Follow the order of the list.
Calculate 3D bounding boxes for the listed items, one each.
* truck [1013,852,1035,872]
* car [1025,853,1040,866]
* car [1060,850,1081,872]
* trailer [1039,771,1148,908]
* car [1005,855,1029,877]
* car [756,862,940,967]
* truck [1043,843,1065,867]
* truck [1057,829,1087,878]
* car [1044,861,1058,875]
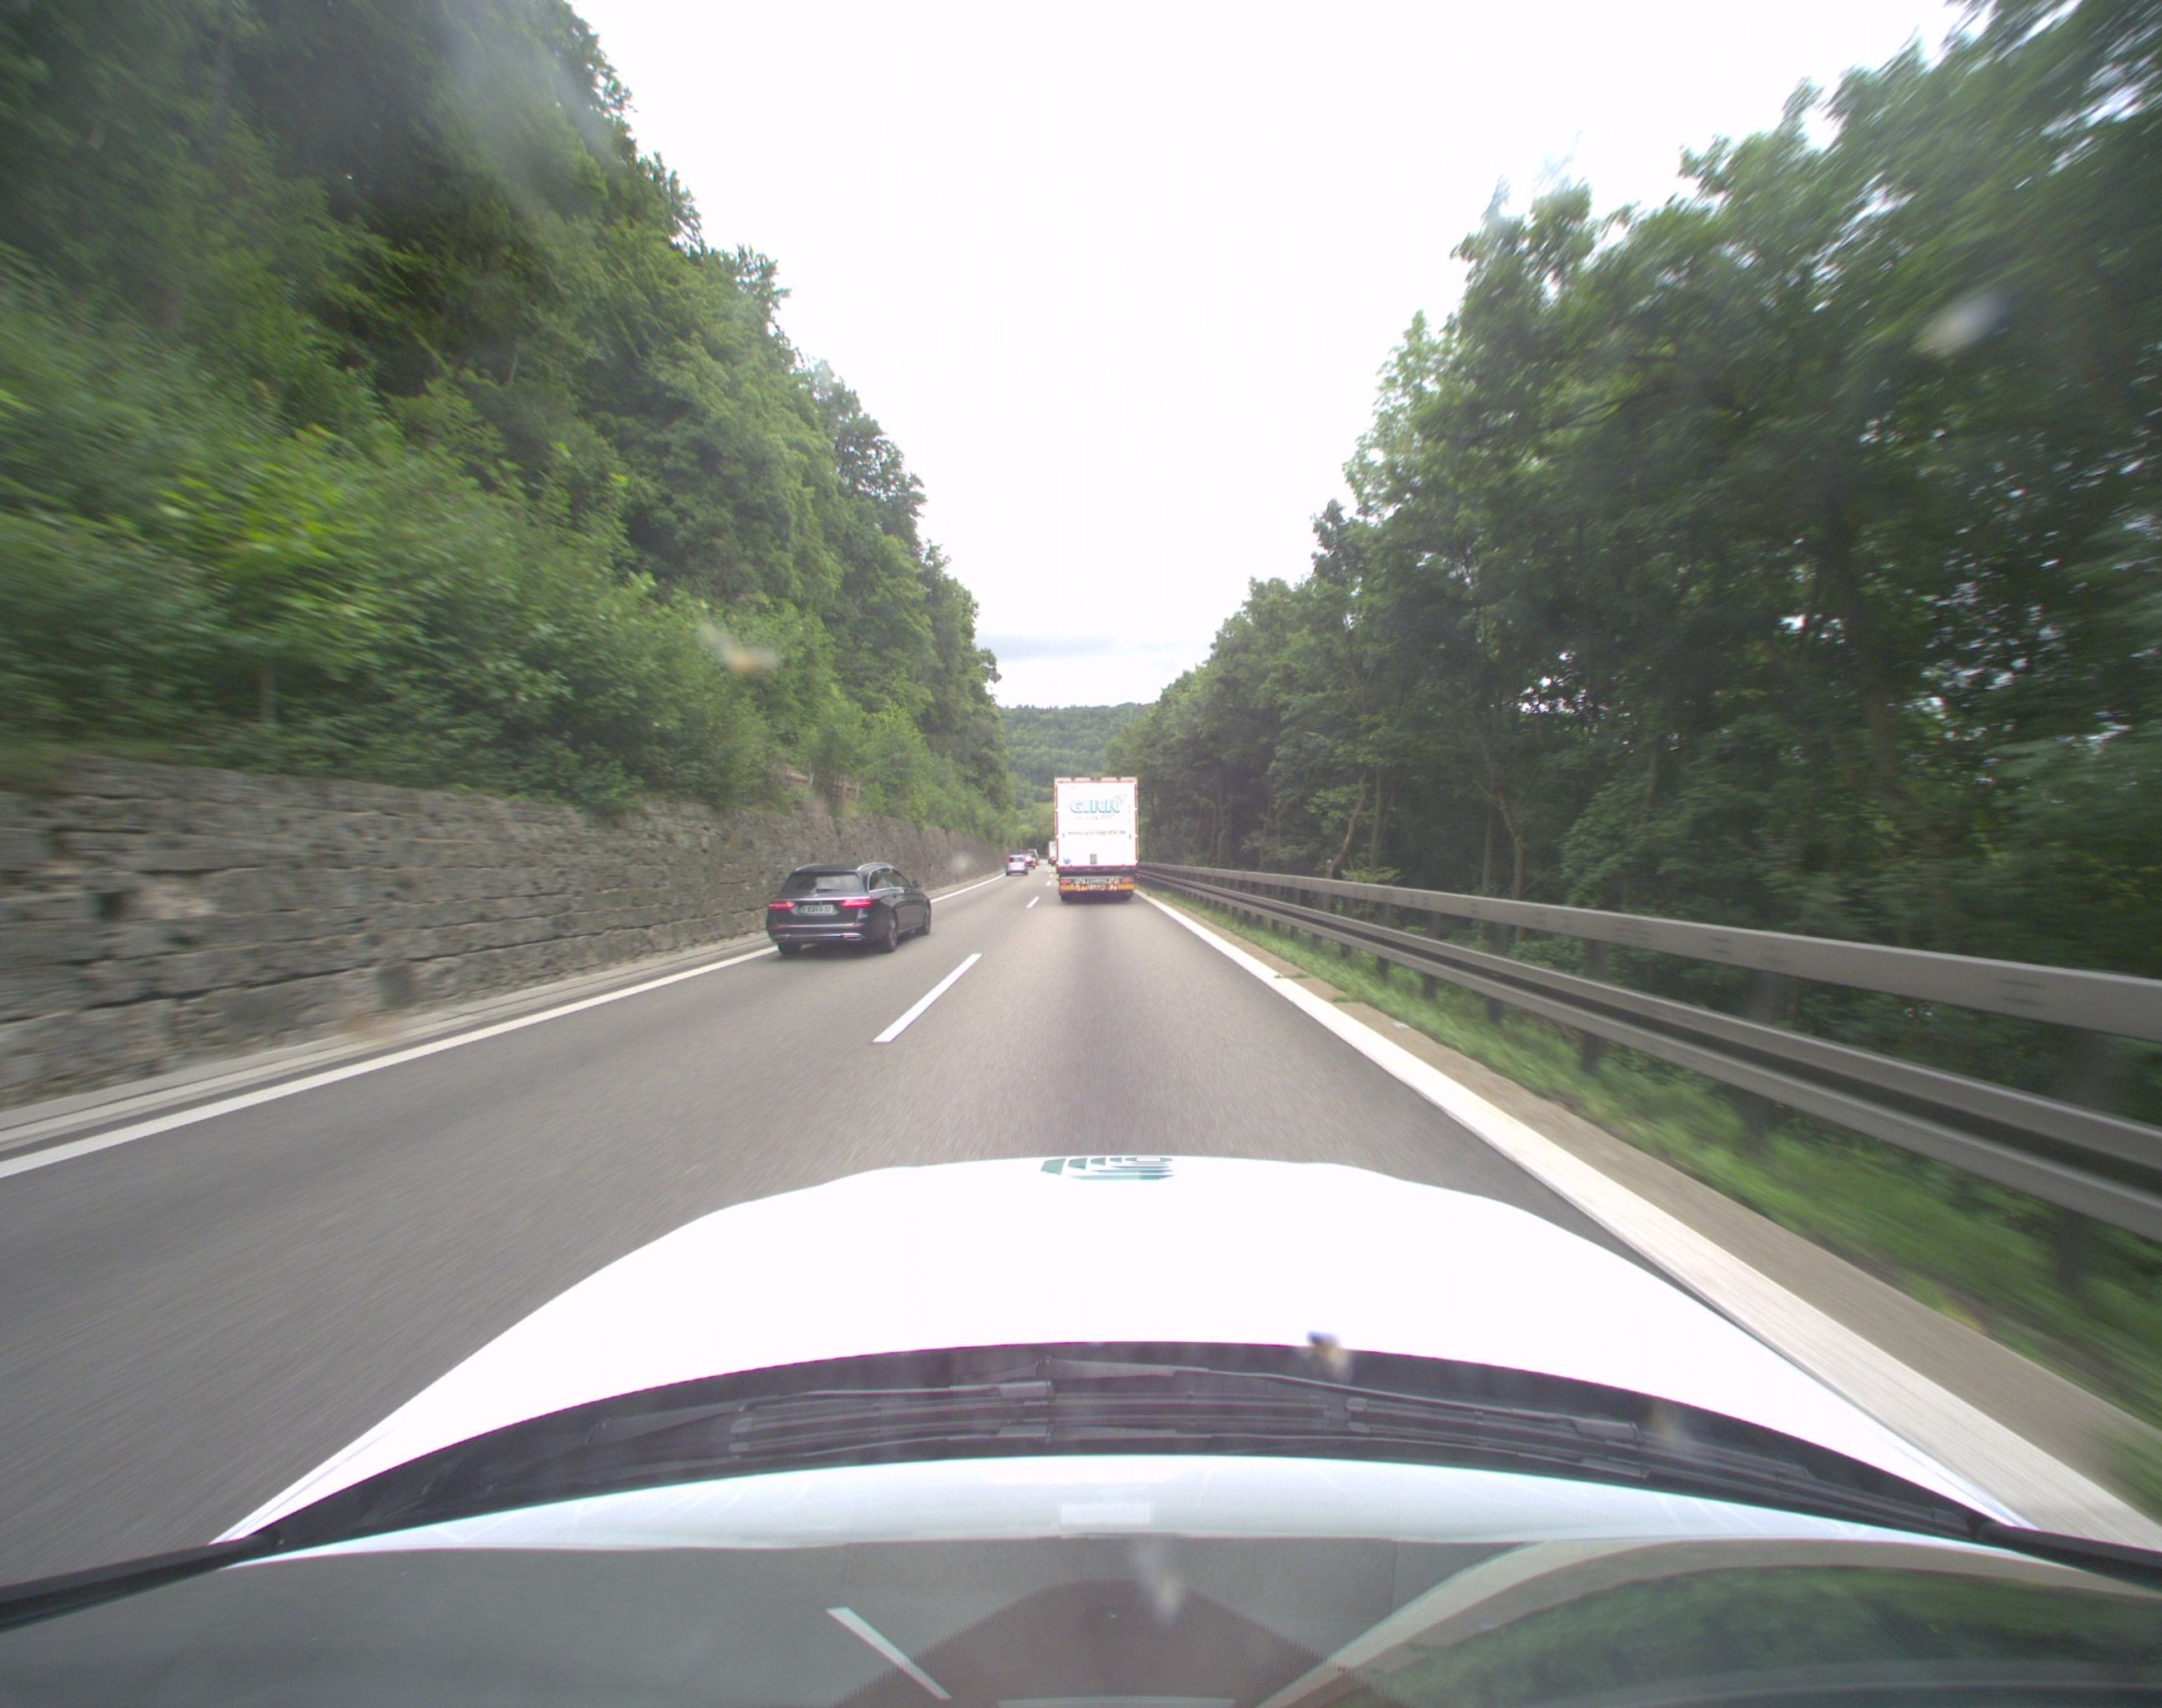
[{"bbox_3d":[-6.746,0.965,96.530,2.343,2.274,6.842,1,0,-3],"label":"truck"},{"bbox_3d":[-7.578,0.843,127.337,2.012,1.914,5.560,1,0,-1],"label":"car"},{"bbox_3d":[-0.978,0.707,78.721,1.987,2.014,4.332,1,-1,0],"label":"car"},{"bbox_3d":[0.268,-0.441,29.461,3.124,4.042,9.433,2,0,-2],"label":"trailer"},{"bbox_3d":[-5.113,0.944,65.580,1.629,1.726,4.343,0,0,-1],"label":"car"},{"bbox_3d":[-3.887,0.922,14.614,1.754,1.463,5.123,-1,0,1],"label":"car"},{"bbox_3d":[-4.663,0.185,140.998,3.065,3.877,8.438,1,-1,-7],"label":"truck"},{"bbox_3d":[-0.692,-0.034,67.605,2.226,3.804,6.822,1,-1,0],"label":"truck"},{"bbox_3d":[-4.294,1.997,117.135,1.988,2.014,3.997,1,-1,-2],"label":"car"}]
